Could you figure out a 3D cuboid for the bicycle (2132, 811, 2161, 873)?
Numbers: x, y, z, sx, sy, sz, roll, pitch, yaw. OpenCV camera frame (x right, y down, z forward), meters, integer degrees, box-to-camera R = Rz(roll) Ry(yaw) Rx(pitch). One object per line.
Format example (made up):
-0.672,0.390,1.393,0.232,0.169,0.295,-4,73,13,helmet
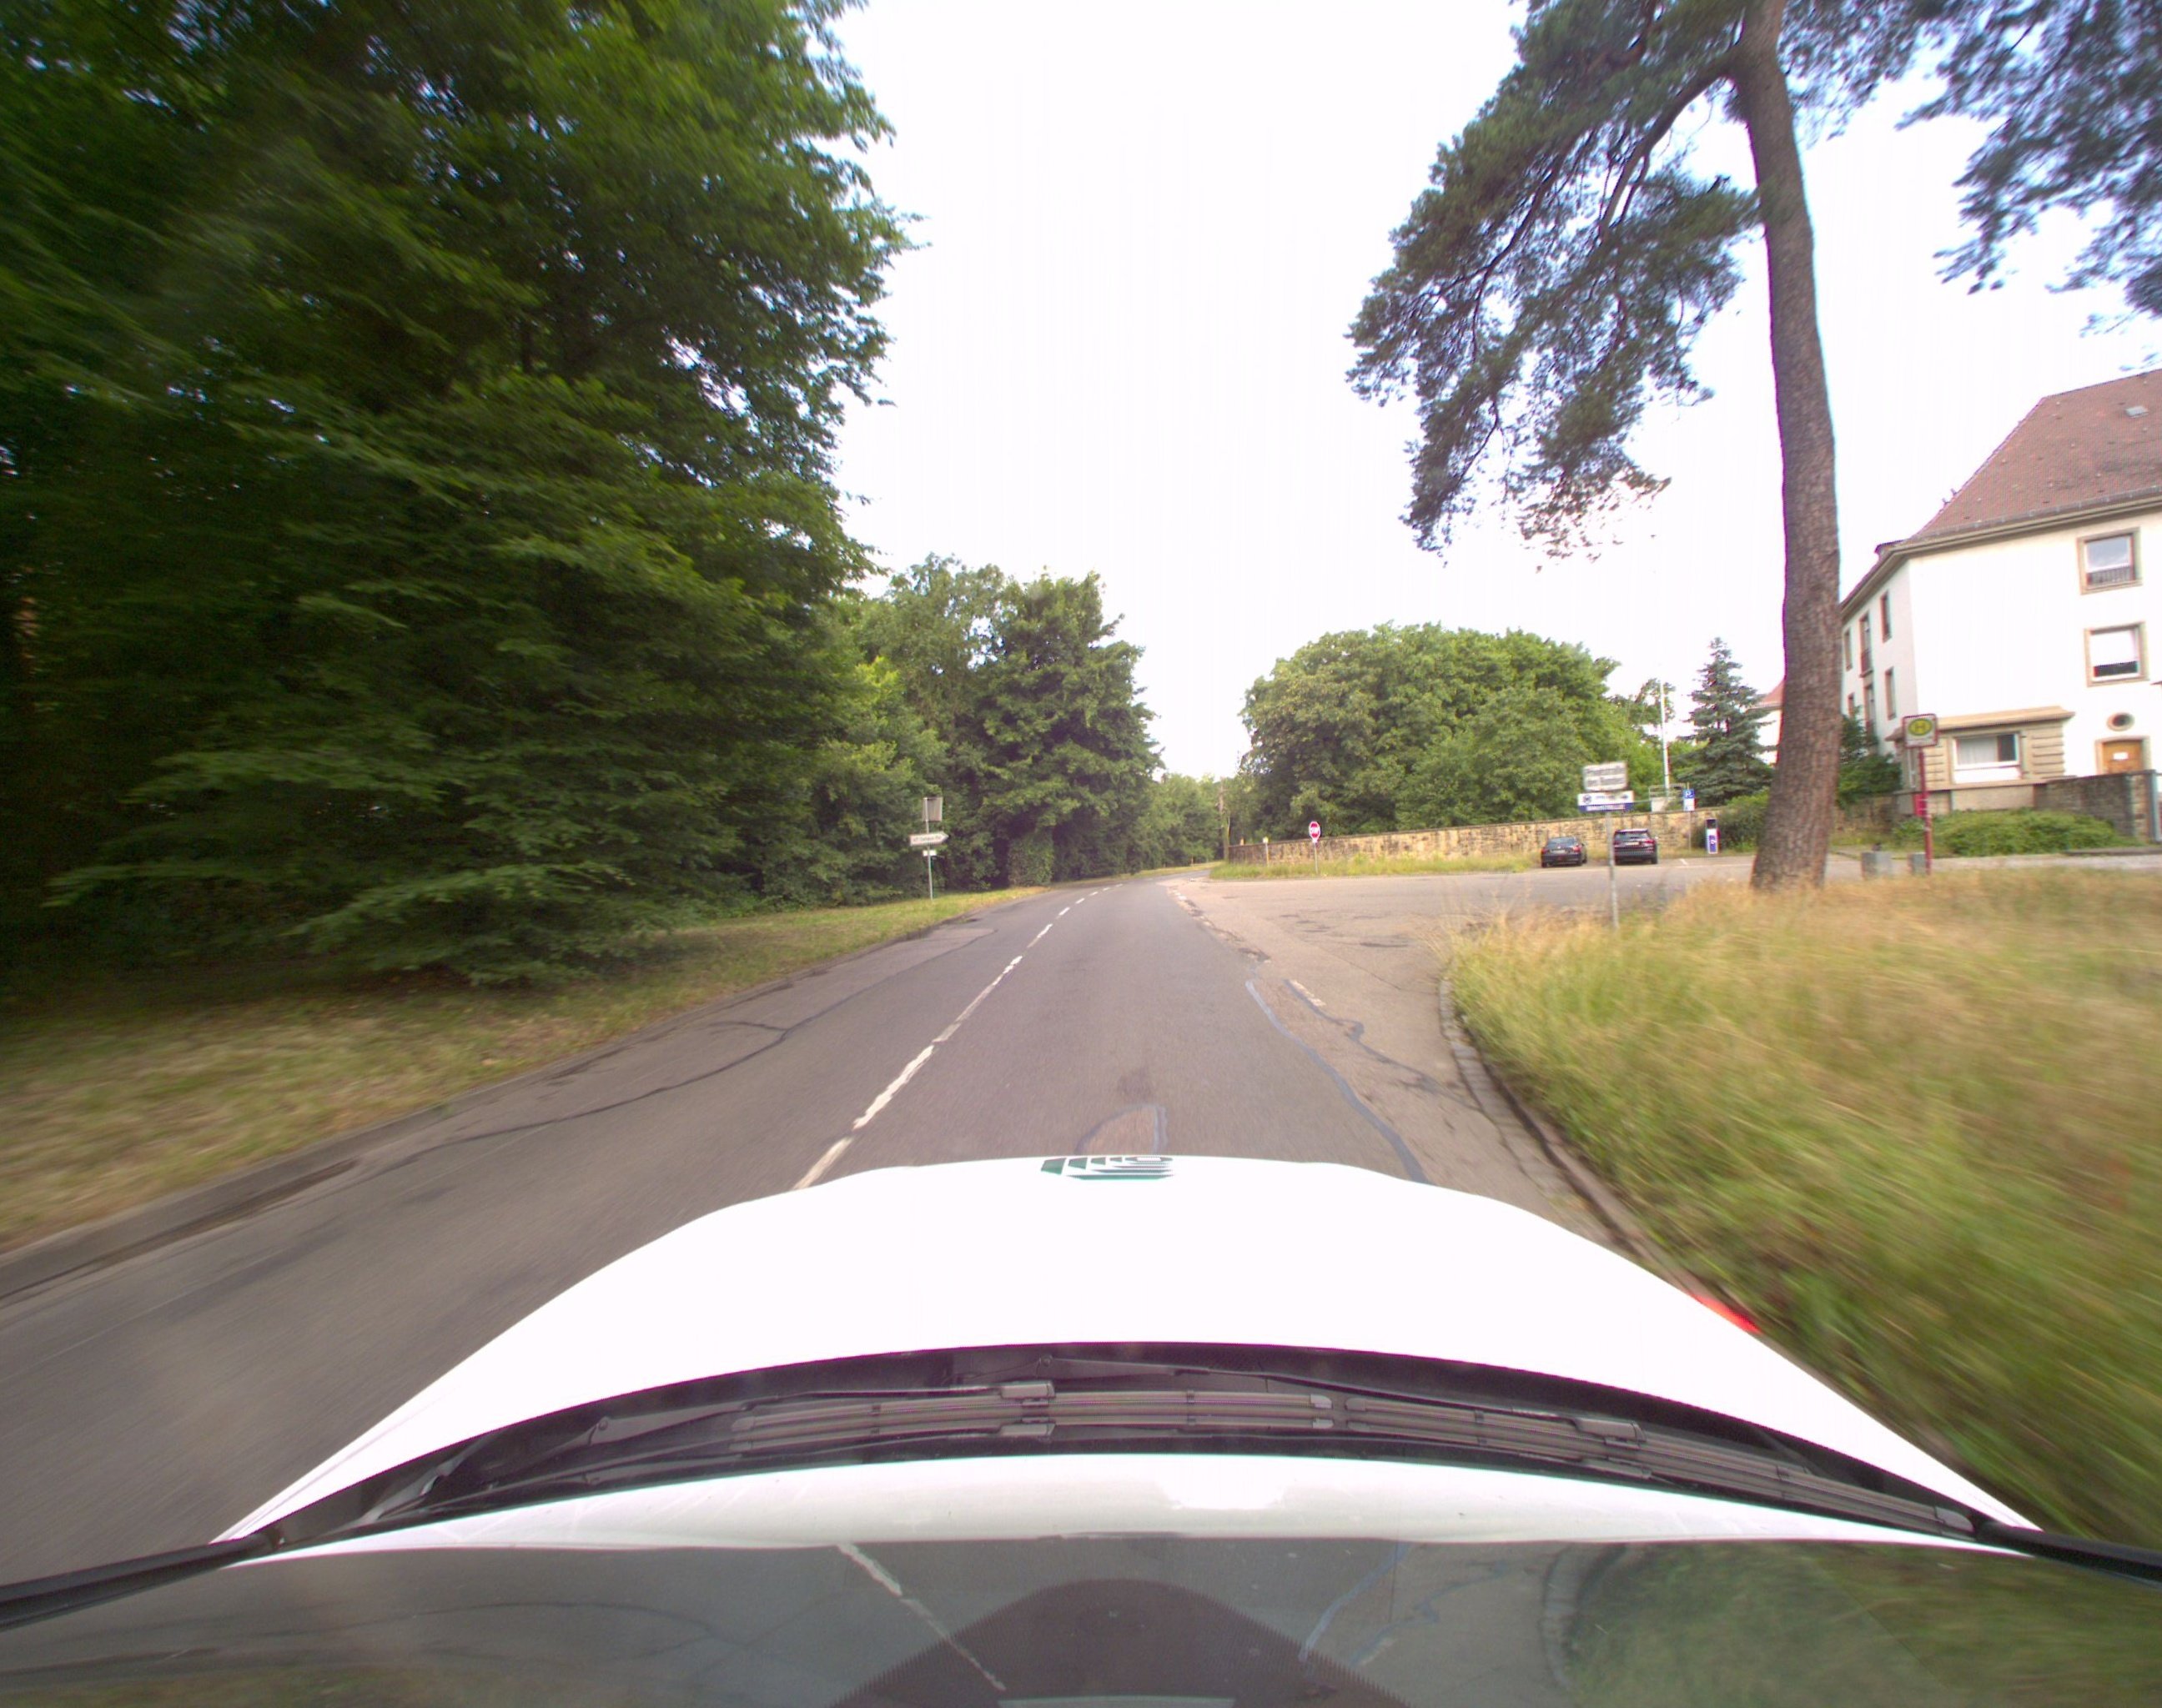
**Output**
19.145,-0.223,14.036,0.731,1.085,1.694,-2,-1,34,bicycle

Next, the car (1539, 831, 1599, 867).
22.991,-0.260,38.299,1.855,1.441,4.026,-4,0,38,car

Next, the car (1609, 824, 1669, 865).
24.910,-0.444,36.297,1.875,1.546,4.026,-4,0,38,car
